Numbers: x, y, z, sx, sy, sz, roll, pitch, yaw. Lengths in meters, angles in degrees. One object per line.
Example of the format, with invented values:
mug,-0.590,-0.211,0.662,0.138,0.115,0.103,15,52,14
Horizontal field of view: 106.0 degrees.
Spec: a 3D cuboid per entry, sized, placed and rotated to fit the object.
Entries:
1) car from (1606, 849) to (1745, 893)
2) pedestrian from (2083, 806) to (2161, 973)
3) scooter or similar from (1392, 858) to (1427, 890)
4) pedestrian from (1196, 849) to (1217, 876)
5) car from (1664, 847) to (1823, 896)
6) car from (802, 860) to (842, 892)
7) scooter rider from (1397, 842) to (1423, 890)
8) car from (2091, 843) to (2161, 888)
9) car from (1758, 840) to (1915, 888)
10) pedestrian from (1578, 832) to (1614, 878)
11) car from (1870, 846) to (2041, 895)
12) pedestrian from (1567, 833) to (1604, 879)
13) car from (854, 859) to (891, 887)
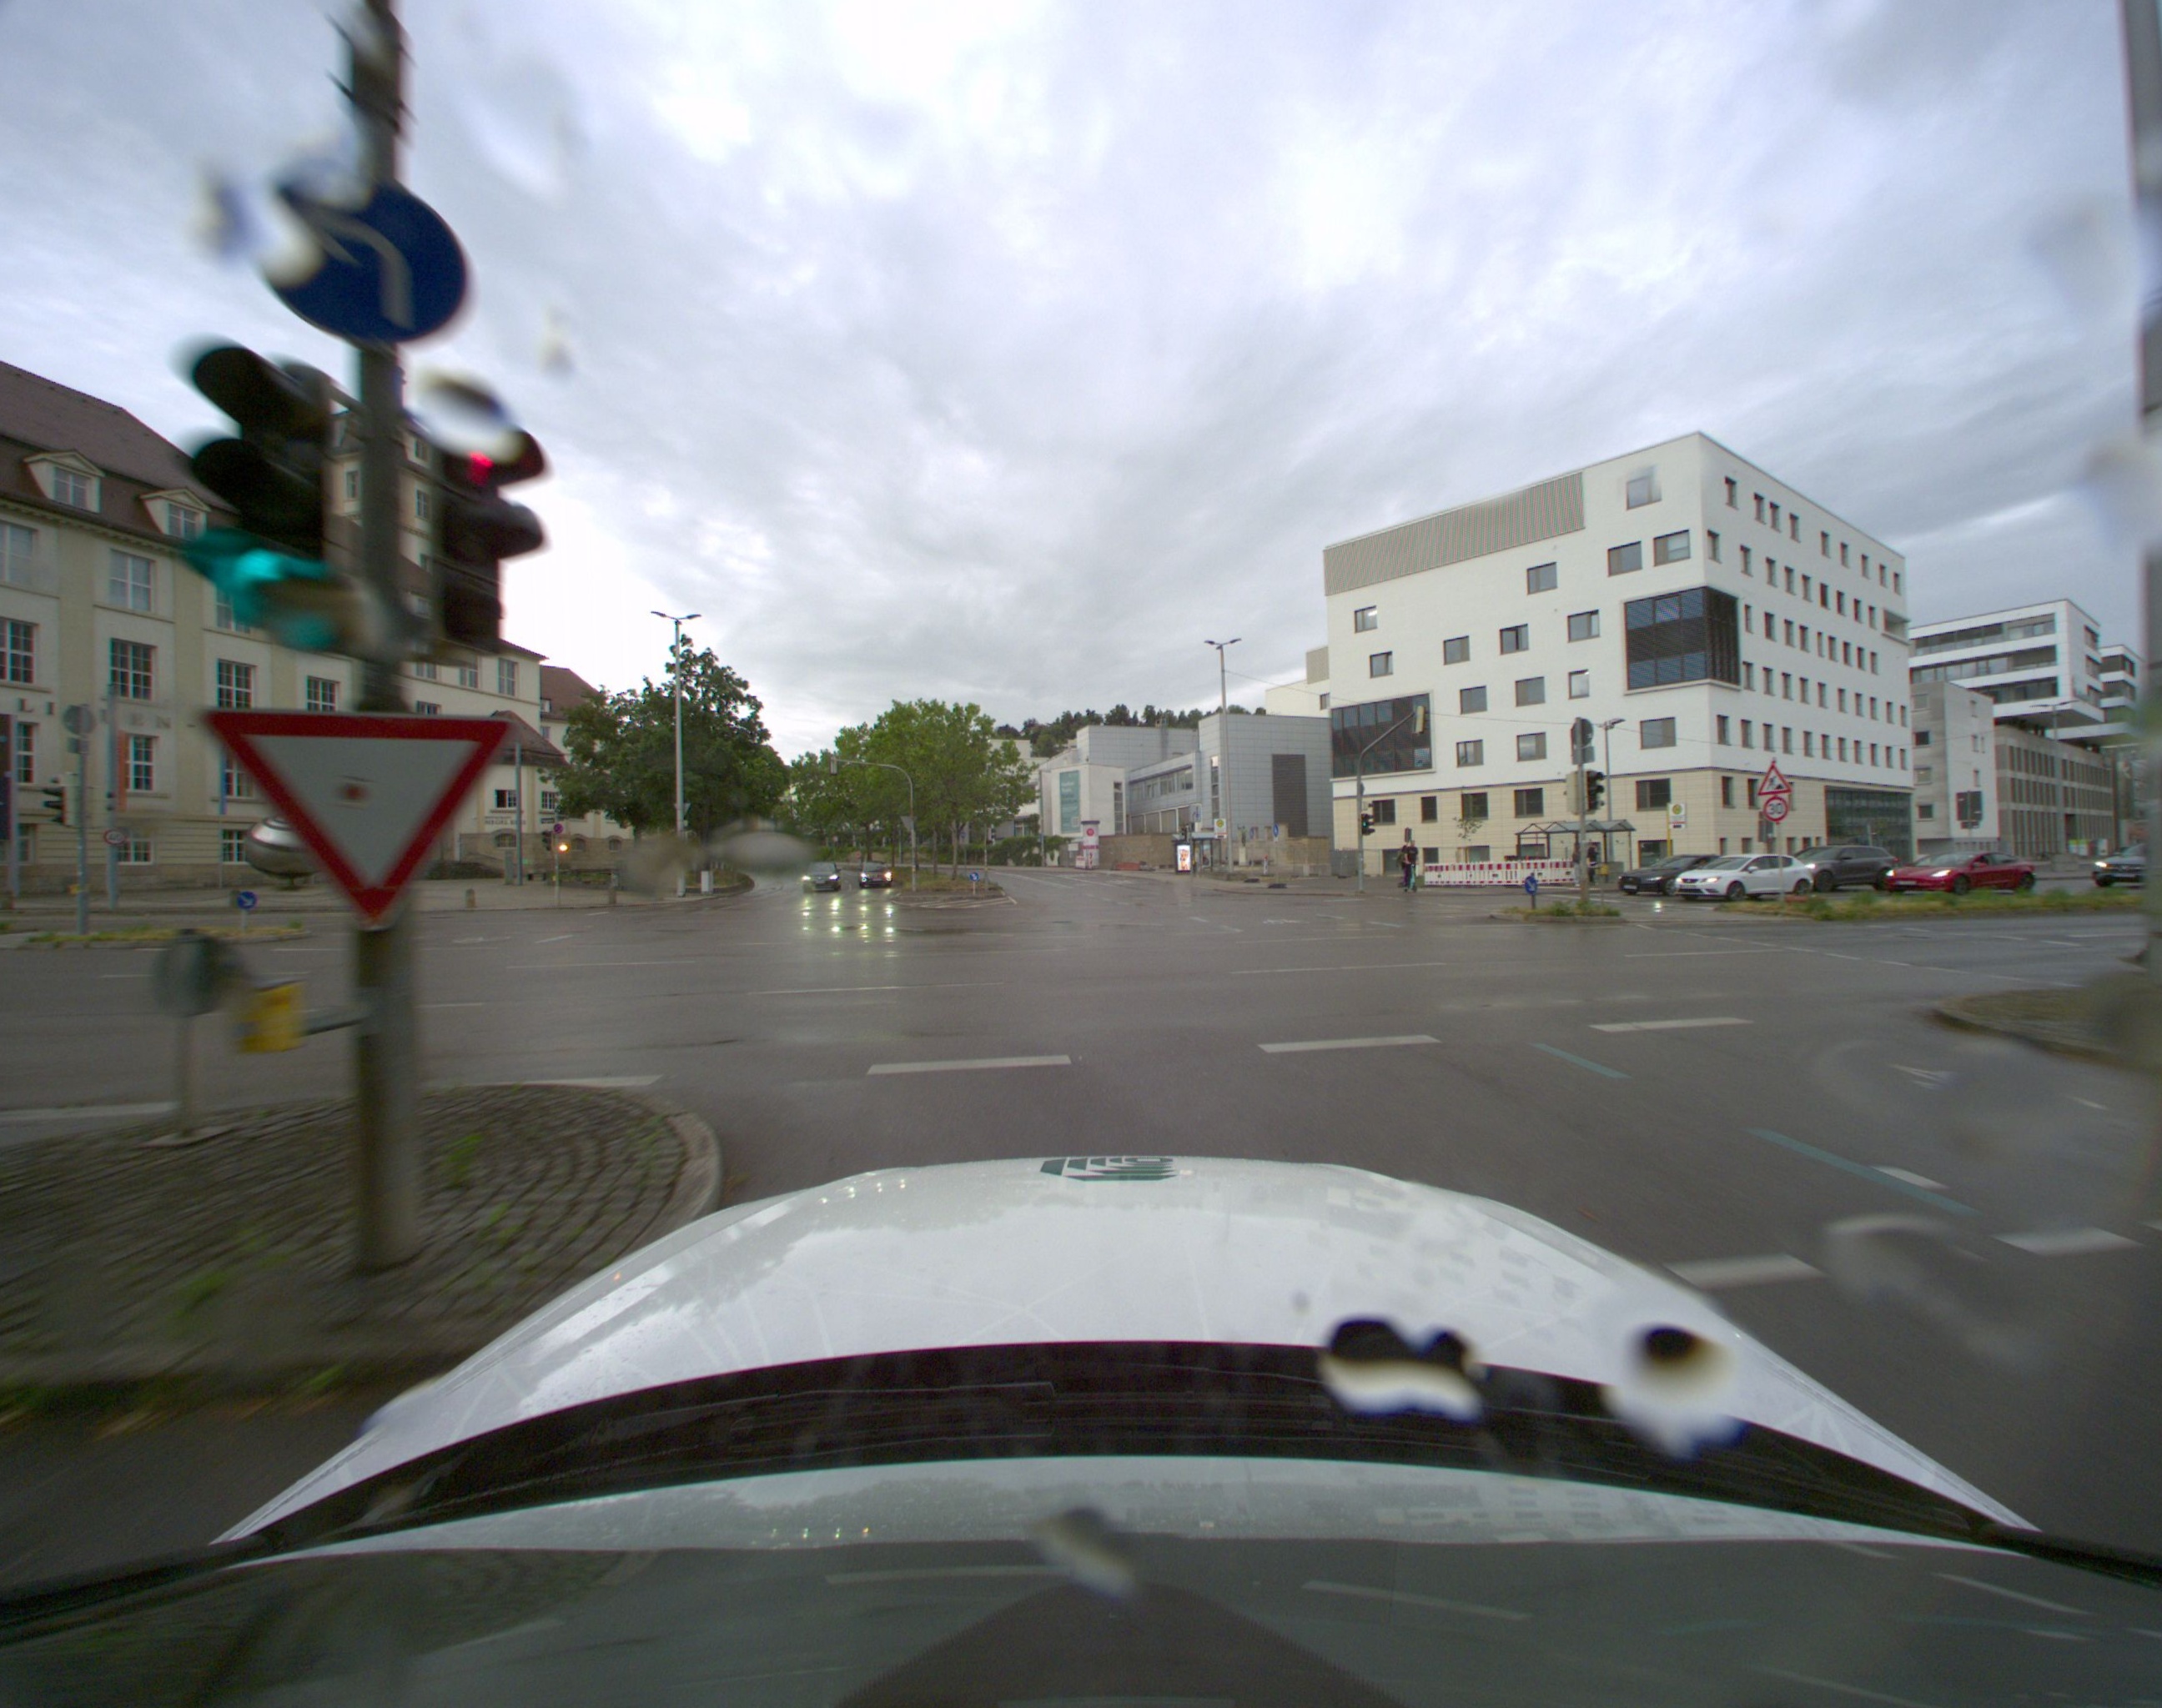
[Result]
car,20.761,0.592,28.495,3.990,1.444,1.790,1,-1,-13
pedestrian,12.598,0.412,9.668,1.032,1.892,0.821,2,-2,-38
scooter or similar,13.171,0.803,32.699,0.593,1.239,1.305,1,-2,-19
pedestrian,8.100,0.526,52.630,1.253,1.719,1.016,0,-2,1
car,20.642,0.550,25.412,3.990,1.444,1.790,1,-1,-13
car,-14.406,1.180,45.445,1.871,1.564,4.255,-2,1,-15
scooter rider,13.198,0.493,32.654,0.725,1.883,0.628,1,-2,-18
car,38.944,0.428,29.277,4.156,1.537,1.955,1,-1,-18
car,27.665,0.360,29.889,4.371,1.664,1.994,0,-1,-9
pedestrian,21.977,0.045,34.785,0.995,1.935,0.957,0,-2,12
car,29.116,0.517,27.158,4.520,1.557,1.958,0,0,-14
pedestrian,20.383,0.090,32.904,0.951,1.840,0.821,1,-2,-9
car,-12.683,1.098,49.342,1.794,1.585,3.974,-1,0,-19
